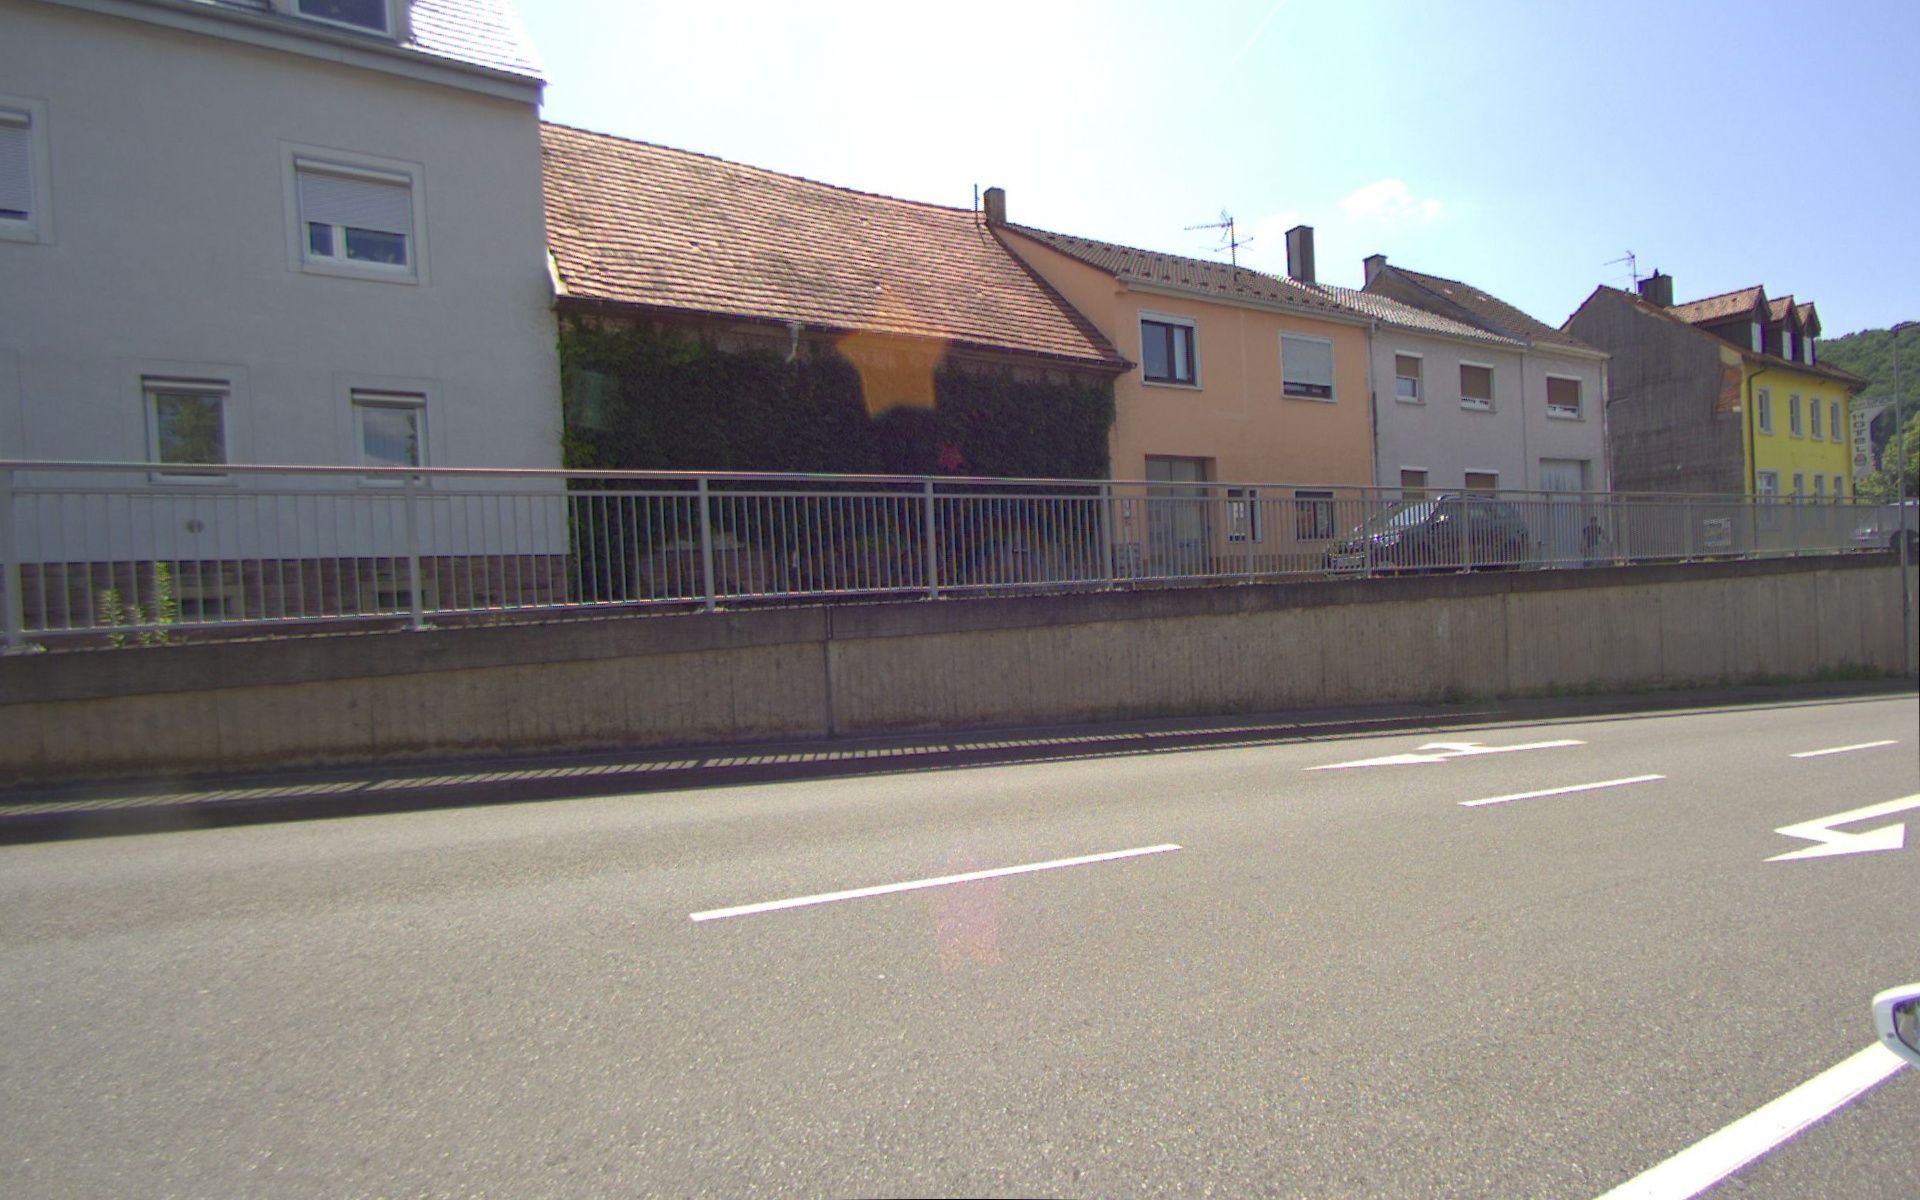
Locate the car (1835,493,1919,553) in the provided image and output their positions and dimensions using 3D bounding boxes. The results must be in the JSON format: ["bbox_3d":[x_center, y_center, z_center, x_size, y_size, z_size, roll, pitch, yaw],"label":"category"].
[{"bbox_3d":[27.508,-2.188,29.340,4.345,1.545,1.788,-2,0,-33],"label":"car"}]

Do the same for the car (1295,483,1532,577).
[{"bbox_3d":[8.126,-1.187,17.883,4.345,1.424,1.775,-2,0,-33],"label":"car"}]
